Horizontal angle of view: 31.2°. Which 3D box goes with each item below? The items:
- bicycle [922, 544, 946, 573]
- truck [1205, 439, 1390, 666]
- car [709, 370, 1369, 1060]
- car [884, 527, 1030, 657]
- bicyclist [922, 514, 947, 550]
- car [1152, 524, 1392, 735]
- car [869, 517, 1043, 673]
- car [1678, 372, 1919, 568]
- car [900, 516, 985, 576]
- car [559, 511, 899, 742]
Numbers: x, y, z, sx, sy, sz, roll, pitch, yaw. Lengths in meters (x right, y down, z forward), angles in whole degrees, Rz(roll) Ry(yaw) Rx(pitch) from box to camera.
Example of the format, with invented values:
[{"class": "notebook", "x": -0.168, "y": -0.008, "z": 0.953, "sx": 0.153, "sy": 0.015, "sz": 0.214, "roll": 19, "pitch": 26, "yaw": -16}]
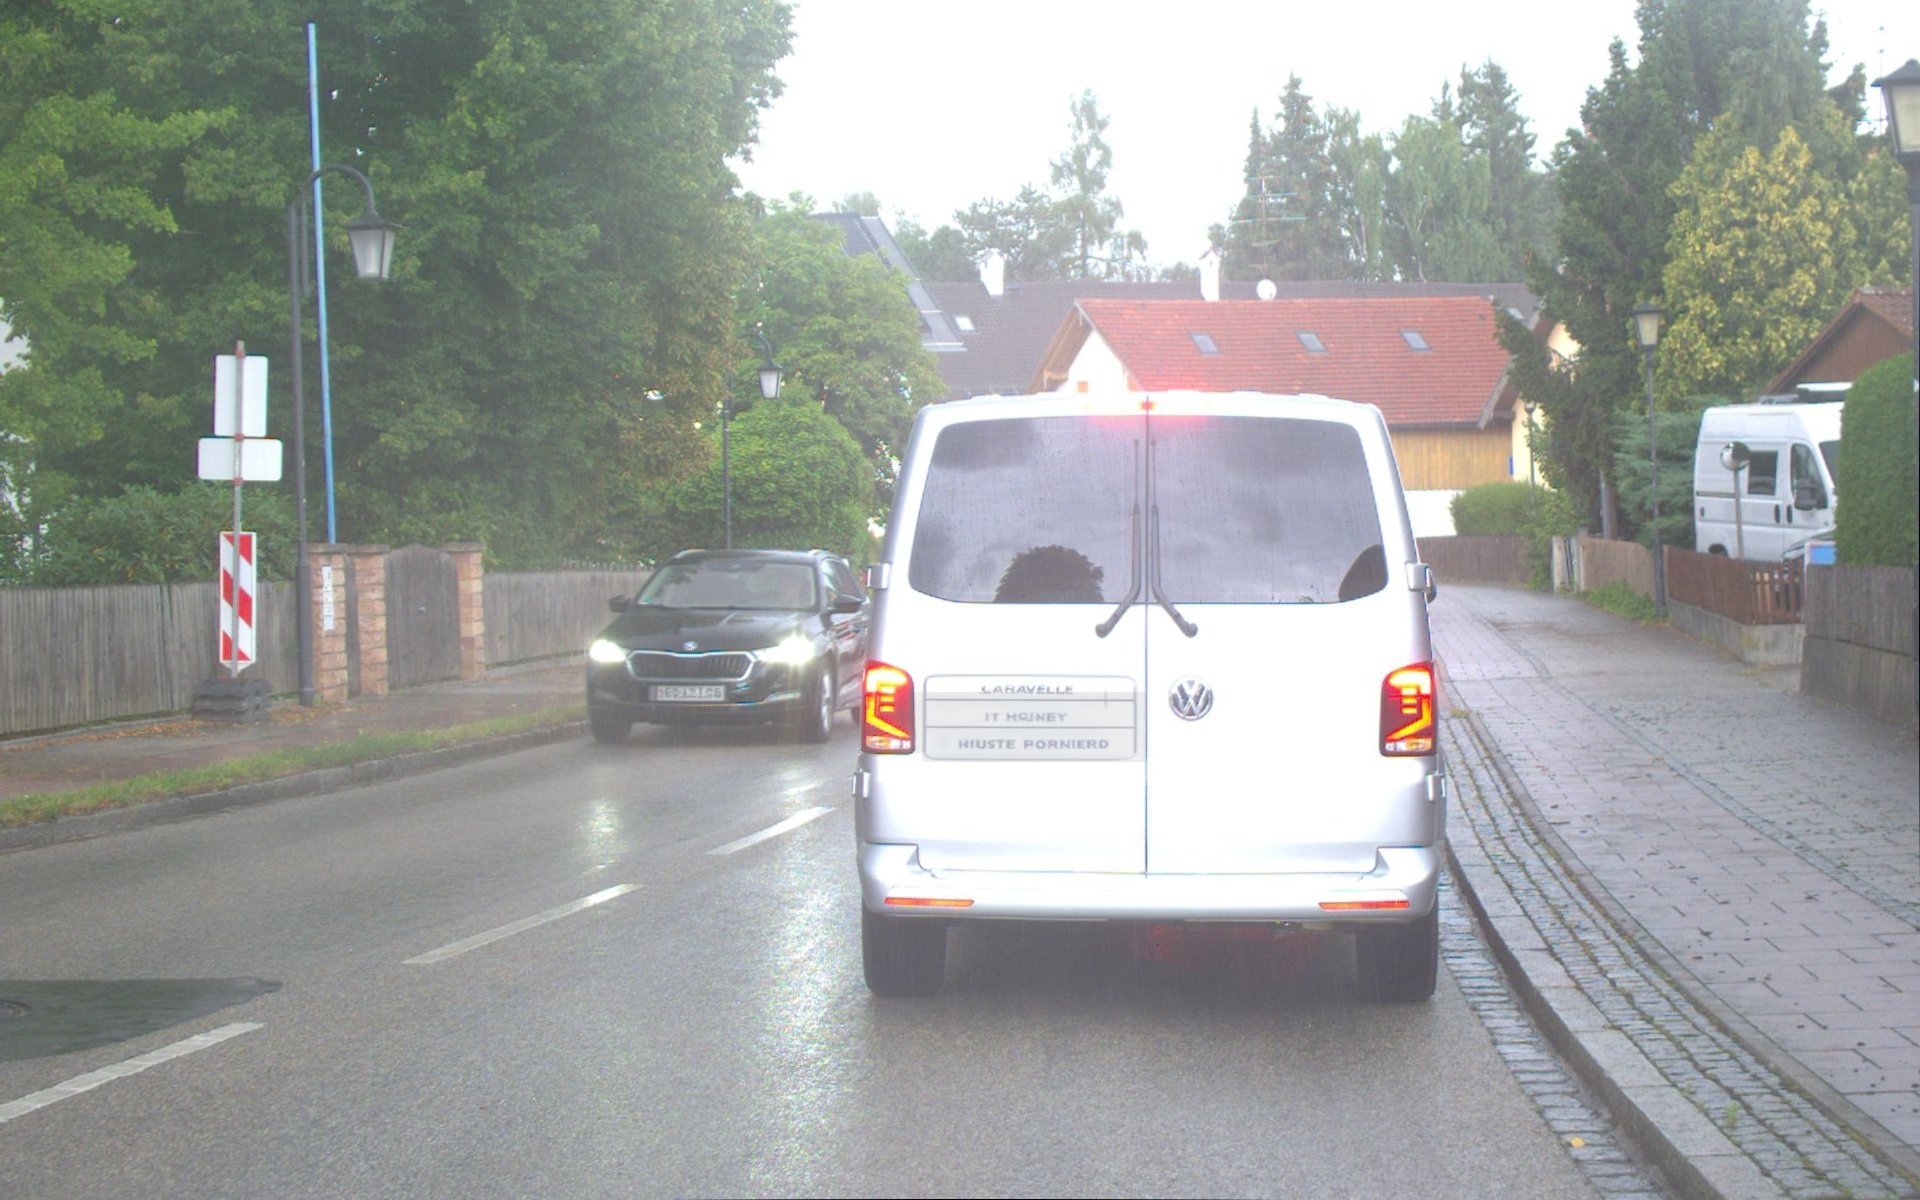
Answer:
[{"class": "bicycle", "x": -0.724, "y": -1.178, "z": 96.585, "sx": 0.456, "sy": 0.796, "sz": 1.977, "roll": 0, "pitch": 1, "yaw": 6}, {"class": "truck", "x": 4.929, "y": -0.666, "z": 50.097, "sx": 2.476, "sy": 3.063, "sz": 6.294, "roll": 1, "pitch": 0, "yaw": 6}, {"class": "car", "x": 0.454, "y": 0.319, "z": 12.157, "sx": 1.801, "sy": 2.007, "sz": 3.999, "roll": 1, "pitch": 0, "yaw": 9}, {"class": "car", "x": -0.001, "y": -0.122, "z": 49.161, "sx": 1.640, "sy": 1.759, "sz": 4.330, "roll": 1, "pitch": 0, "yaw": 6}, {"class": "bicyclist", "x": -0.717, "y": -1.903, "z": 96.546, "sx": 0.587, "sy": 1.018, "sz": 1.060, "roll": 0, "pitch": 1, "yaw": 6}, {"class": "car", "x": 2.579, "y": 0.212, "z": 28.202, "sx": 1.801, "sy": 1.583, "sz": 3.999, "roll": 1, "pitch": 0, "yaw": 6}, {"class": "car", "x": 0.003, "y": -0.067, "z": 41.468, "sx": 1.640, "sy": 1.759, "sz": 4.330, "roll": 1, "pitch": 0, "yaw": 6}, {"class": "car", "x": 10.364, "y": -1.478, "z": 41.011, "sx": 1.993, "sy": 2.166, "sz": 4.954, "roll": 1, "pitch": 0, "yaw": -7}, {"class": "car", "x": -0.641, "y": -1.873, "z": 120.046, "sx": 1.993, "sy": 2.007, "sz": 4.001, "roll": 1, "pitch": 0, "yaw": -15}, {"class": "car", "x": -1.712, "y": 0.175, "z": 26.969, "sx": 1.784, "sy": 1.657, "sz": 4.445, "roll": 0, "pitch": 0, "yaw": 8}]
